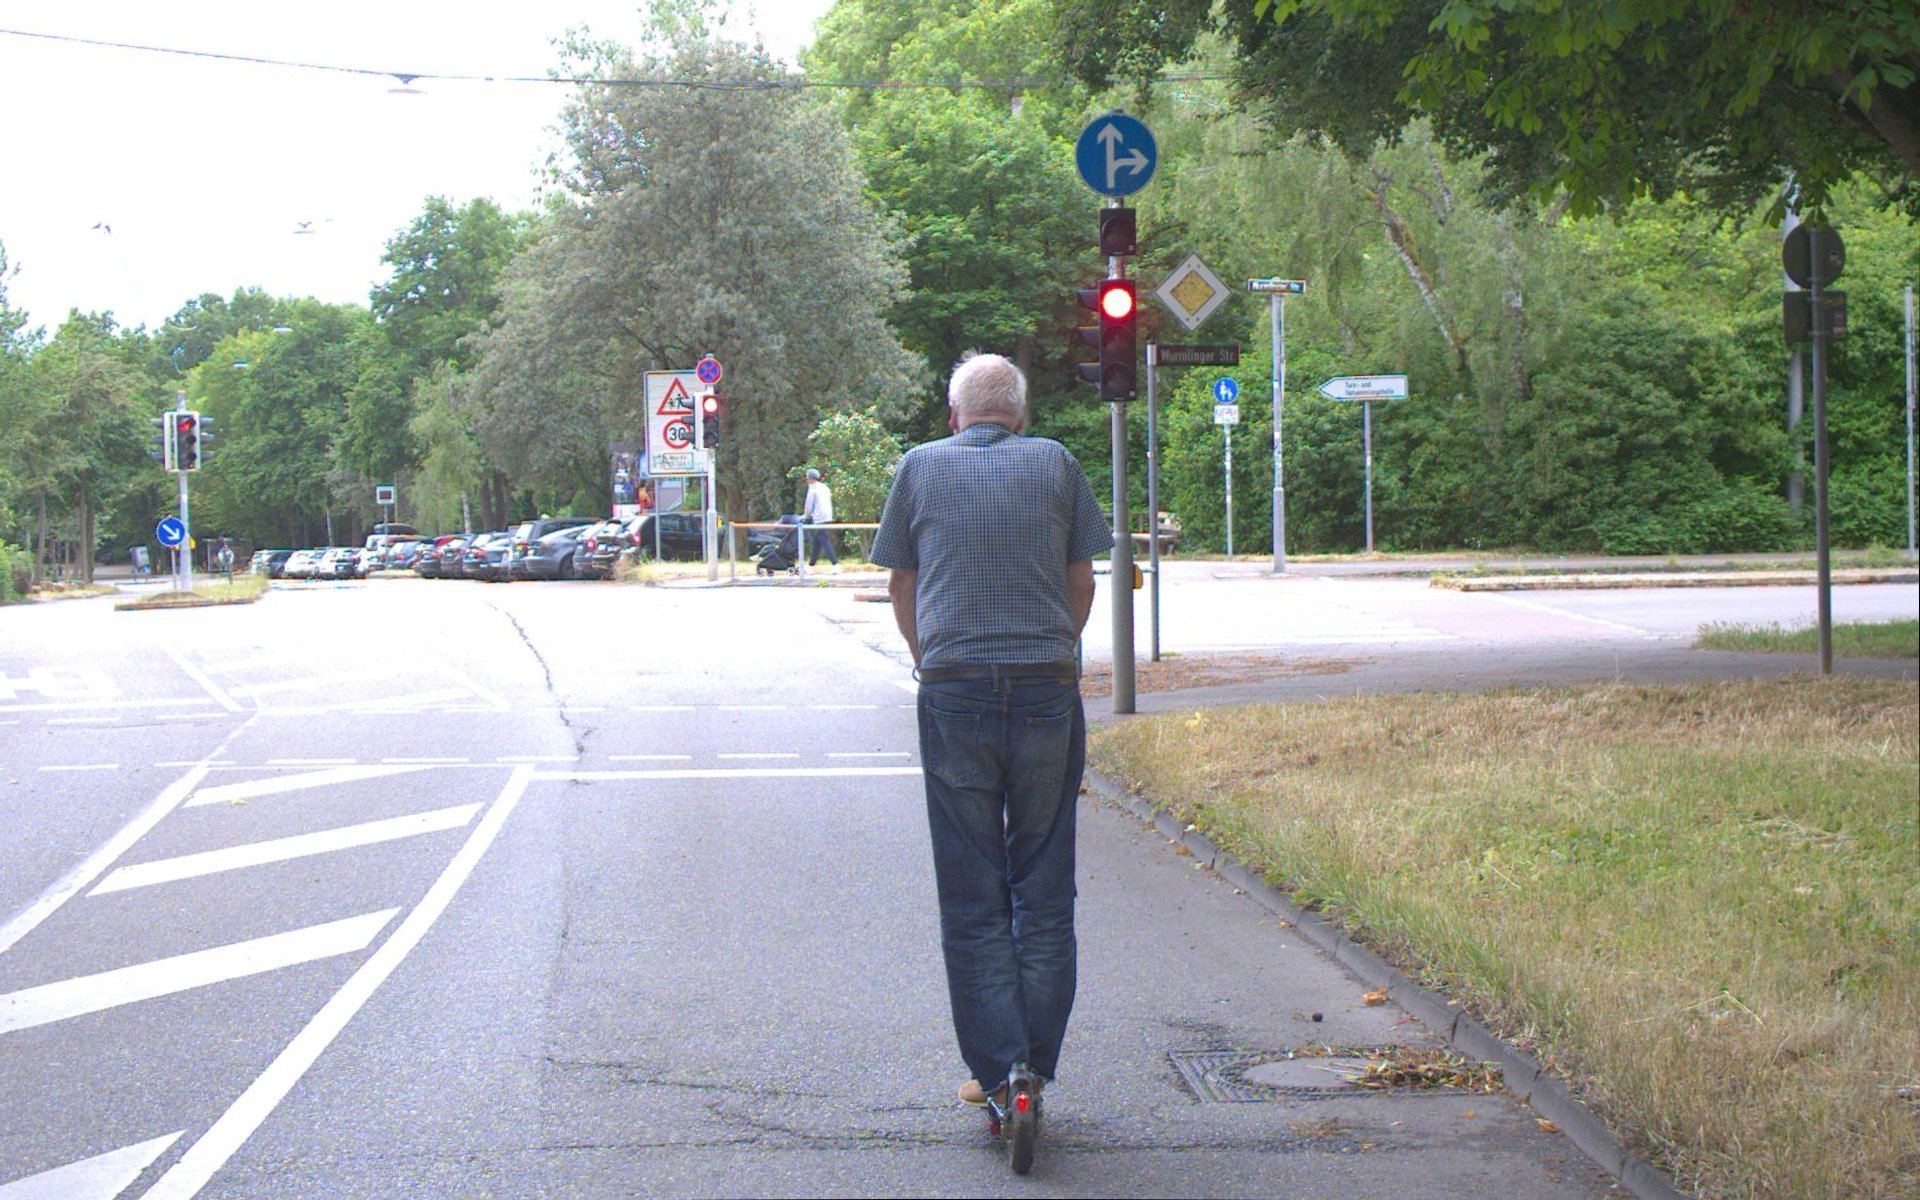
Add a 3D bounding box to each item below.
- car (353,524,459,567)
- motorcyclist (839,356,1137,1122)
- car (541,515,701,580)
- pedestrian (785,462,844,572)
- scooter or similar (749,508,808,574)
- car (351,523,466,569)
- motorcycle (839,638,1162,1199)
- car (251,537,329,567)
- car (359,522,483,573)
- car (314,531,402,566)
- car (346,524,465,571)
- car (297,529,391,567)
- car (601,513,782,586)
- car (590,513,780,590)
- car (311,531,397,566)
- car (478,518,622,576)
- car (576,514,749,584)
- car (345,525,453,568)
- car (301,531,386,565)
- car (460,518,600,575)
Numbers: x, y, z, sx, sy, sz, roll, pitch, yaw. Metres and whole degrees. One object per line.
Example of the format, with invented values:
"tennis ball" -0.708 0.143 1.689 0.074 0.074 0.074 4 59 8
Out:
"car" -21.714 -2.139 134.905 3.986 1.505 1.800 -2 2 -6
"motorcyclist" 0.053 0.311 8.202 0.673 1.755 0.639 0 1 -3
"car" -8.726 -1.363 88.385 3.986 1.505 1.800 -2 2 -6
"pedestrian" -2.353 -1.348 55.718 0.733 1.755 0.661 -1 1 15
"scooter or similar" -2.962 -0.972 56.166 0.710 1.045 0.787 -1 1 15
"car" -20.003 -1.976 124.704 3.986 1.505 1.800 -2 2 -6
"motorcycle" 0.065 0.718 7.988 0.673 1.213 1.274 0 1 -3
"car" -36.398 -2.609 186.833 3.986 1.505 1.800 -2 2 -6
"car" -17.944 -1.758 114.584 3.986 1.505 1.800 -2 2 -6
"car" -28.884 -2.475 164.959 3.986 1.505 1.800 -2 2 -6
"car" -19.530 -1.868 121.182 3.986 1.505 1.800 -2 2 -6
"car" -27.462 -2.324 153.336 3.986 1.505 1.800 -2 2 -6
"car" -6.097 -1.155 77.822 3.986 1.505 1.800 -2 2 -6
"car" -5.965 -1.053 74.245 3.986 1.505 1.800 -2 2 -6
"car" -29.456 -2.507 167.209 3.986 1.505 1.800 -2 2 -6
"car" -11.748 -1.528 98.581 3.986 1.505 1.800 -2 2 -6
"car" -7.083 -1.220 81.559 3.986 1.505 1.800 -2 2 -6
"car" -21.548 -2.052 132.193 3.986 1.505 1.800 -2 2 -6
"car" -30.430 -2.568 169.691 3.986 1.505 1.800 -2 2 -6
"car" -12.545 -1.572 100.466 3.986 1.505 1.800 -2 2 -6
